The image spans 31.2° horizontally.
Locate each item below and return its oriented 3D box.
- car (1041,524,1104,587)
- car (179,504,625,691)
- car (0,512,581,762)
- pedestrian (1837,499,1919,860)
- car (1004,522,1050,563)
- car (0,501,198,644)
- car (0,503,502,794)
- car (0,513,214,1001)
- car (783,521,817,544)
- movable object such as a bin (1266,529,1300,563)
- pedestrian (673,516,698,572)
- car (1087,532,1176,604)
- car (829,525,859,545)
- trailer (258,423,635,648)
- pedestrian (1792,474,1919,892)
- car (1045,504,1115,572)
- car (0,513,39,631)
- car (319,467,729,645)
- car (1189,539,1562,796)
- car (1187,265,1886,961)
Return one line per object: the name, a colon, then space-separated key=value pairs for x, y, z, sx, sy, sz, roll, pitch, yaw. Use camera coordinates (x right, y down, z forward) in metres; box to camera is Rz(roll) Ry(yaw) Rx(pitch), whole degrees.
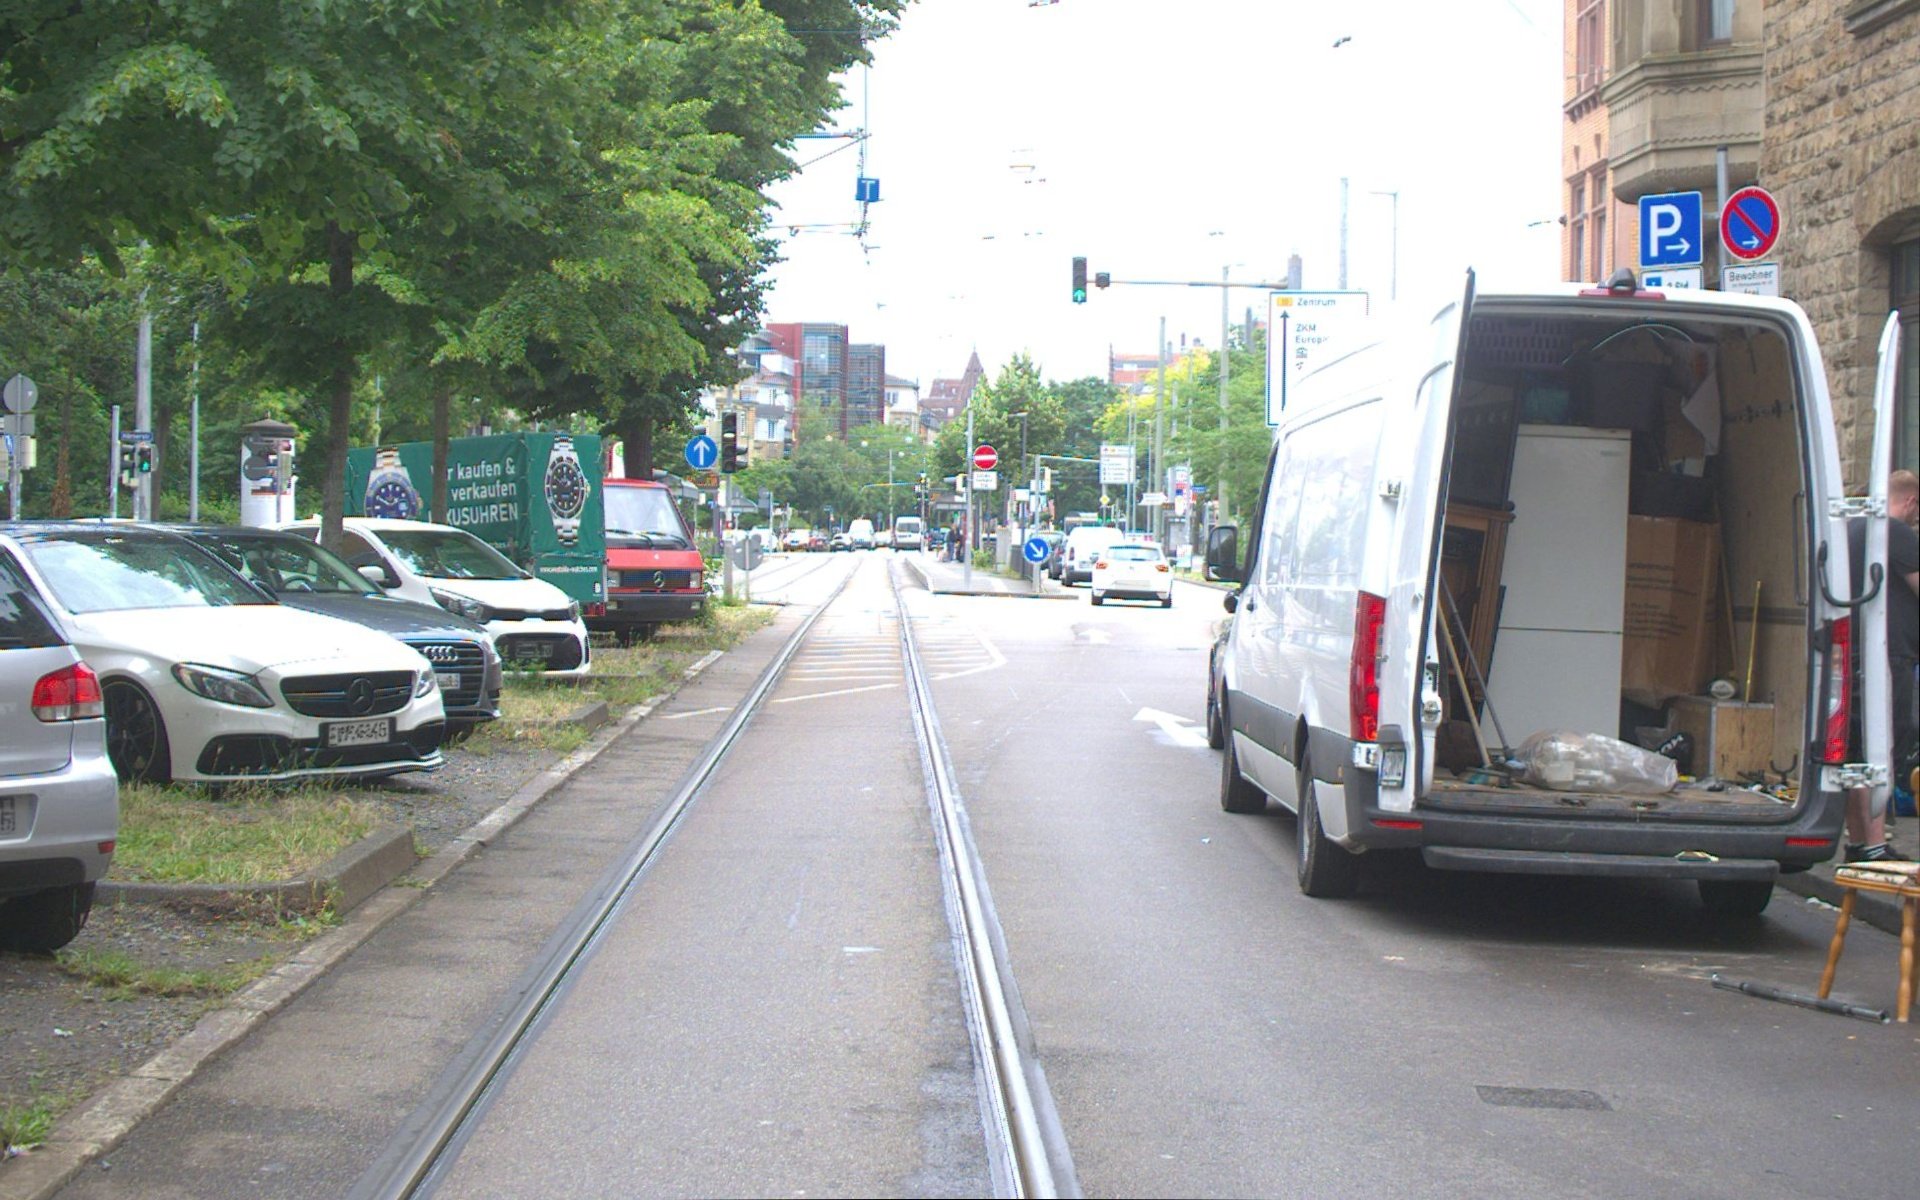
car: x=3.636 y=-1.468 z=111.425 sx=1.782 sy=1.956 sz=4.383 roll=1 pitch=1 yaw=-1
car: x=-4.828 y=-0.061 z=29.492 sx=3.860 sy=1.458 sz=1.685 roll=2 pitch=2 yaw=41
car: x=-4.658 y=0.176 z=22.448 sx=4.337 sy=1.430 sz=1.894 roll=2 pitch=2 yaw=41
pedestrian: x=4.761 y=0.361 z=16.556 sx=0.862 sy=1.694 sz=0.538 roll=-2 pitch=1 yaw=-15
car: x=2.900 y=-2.495 z=148.681 sx=1.782 sy=1.673 sz=4.383 roll=1 pitch=1 yaw=-1
car: x=-9.744 y=-0.322 z=38.501 sx=1.644 sy=1.499 sz=3.884 roll=1 pitch=1 yaw=-2
car: x=-4.909 y=0.178 z=19.297 sx=4.684 sy=1.430 sz=1.894 roll=2 pitch=2 yaw=38
car: x=-4.558 y=0.416 z=11.659 sx=4.114 sy=1.479 sz=1.793 roll=2 pitch=2 yaw=40
car: x=-10.808 y=-4.572 z=232.938 sx=1.770 sy=1.488 sz=3.886 roll=1 pitch=1 yaw=5
movable object such as a bin: x=13.611 y=-2.288 z=145.055 sx=1.282 sy=1.385 sz=1.159 roll=1 pitch=1 yaw=0
pedestrian: x=-8.459 y=-1.738 z=106.050 sx=0.699 sy=1.709 sz=0.699 roll=1 pitch=1 yaw=-9
car: x=3.694 y=-0.708 z=74.506 sx=1.782 sy=1.467 sz=4.010 roll=1 pitch=1 yaw=1
car: x=-8.790 y=-4.894 z=259.808 sx=1.770 sy=1.488 sz=3.886 roll=1 pitch=1 yaw=5
trailer: x=-5.603 y=-0.730 z=37.456 sx=3.666 sy=2.336 sz=1.927 roll=2 pitch=1 yaw=32
pedestrian: x=4.072 y=0.349 z=15.341 sx=0.499 sy=1.809 sz=0.803 roll=-1 pitch=1 yaw=0
car: x=3.583 y=-1.872 z=103.350 sx=1.782 sy=1.956 sz=4.383 roll=1 pitch=1 yaw=-1
car: x=-12.544 y=-0.352 z=41.796 sx=1.634 sy=1.438 sz=4.571 roll=1 pitch=1 yaw=-3
car: x=-5.169 y=-0.553 z=40.399 sx=4.763 sy=1.967 sz=1.955 roll=2 pitch=2 yaw=37
car: x=2.632 y=0.355 z=22.913 sx=1.824 sy=1.445 sz=5.007 roll=2 pitch=1 yaw=0
car: x=2.408 y=-0.026 z=16.498 sx=2.013 sy=2.540 sz=7.017 roll=3 pitch=1 yaw=0
